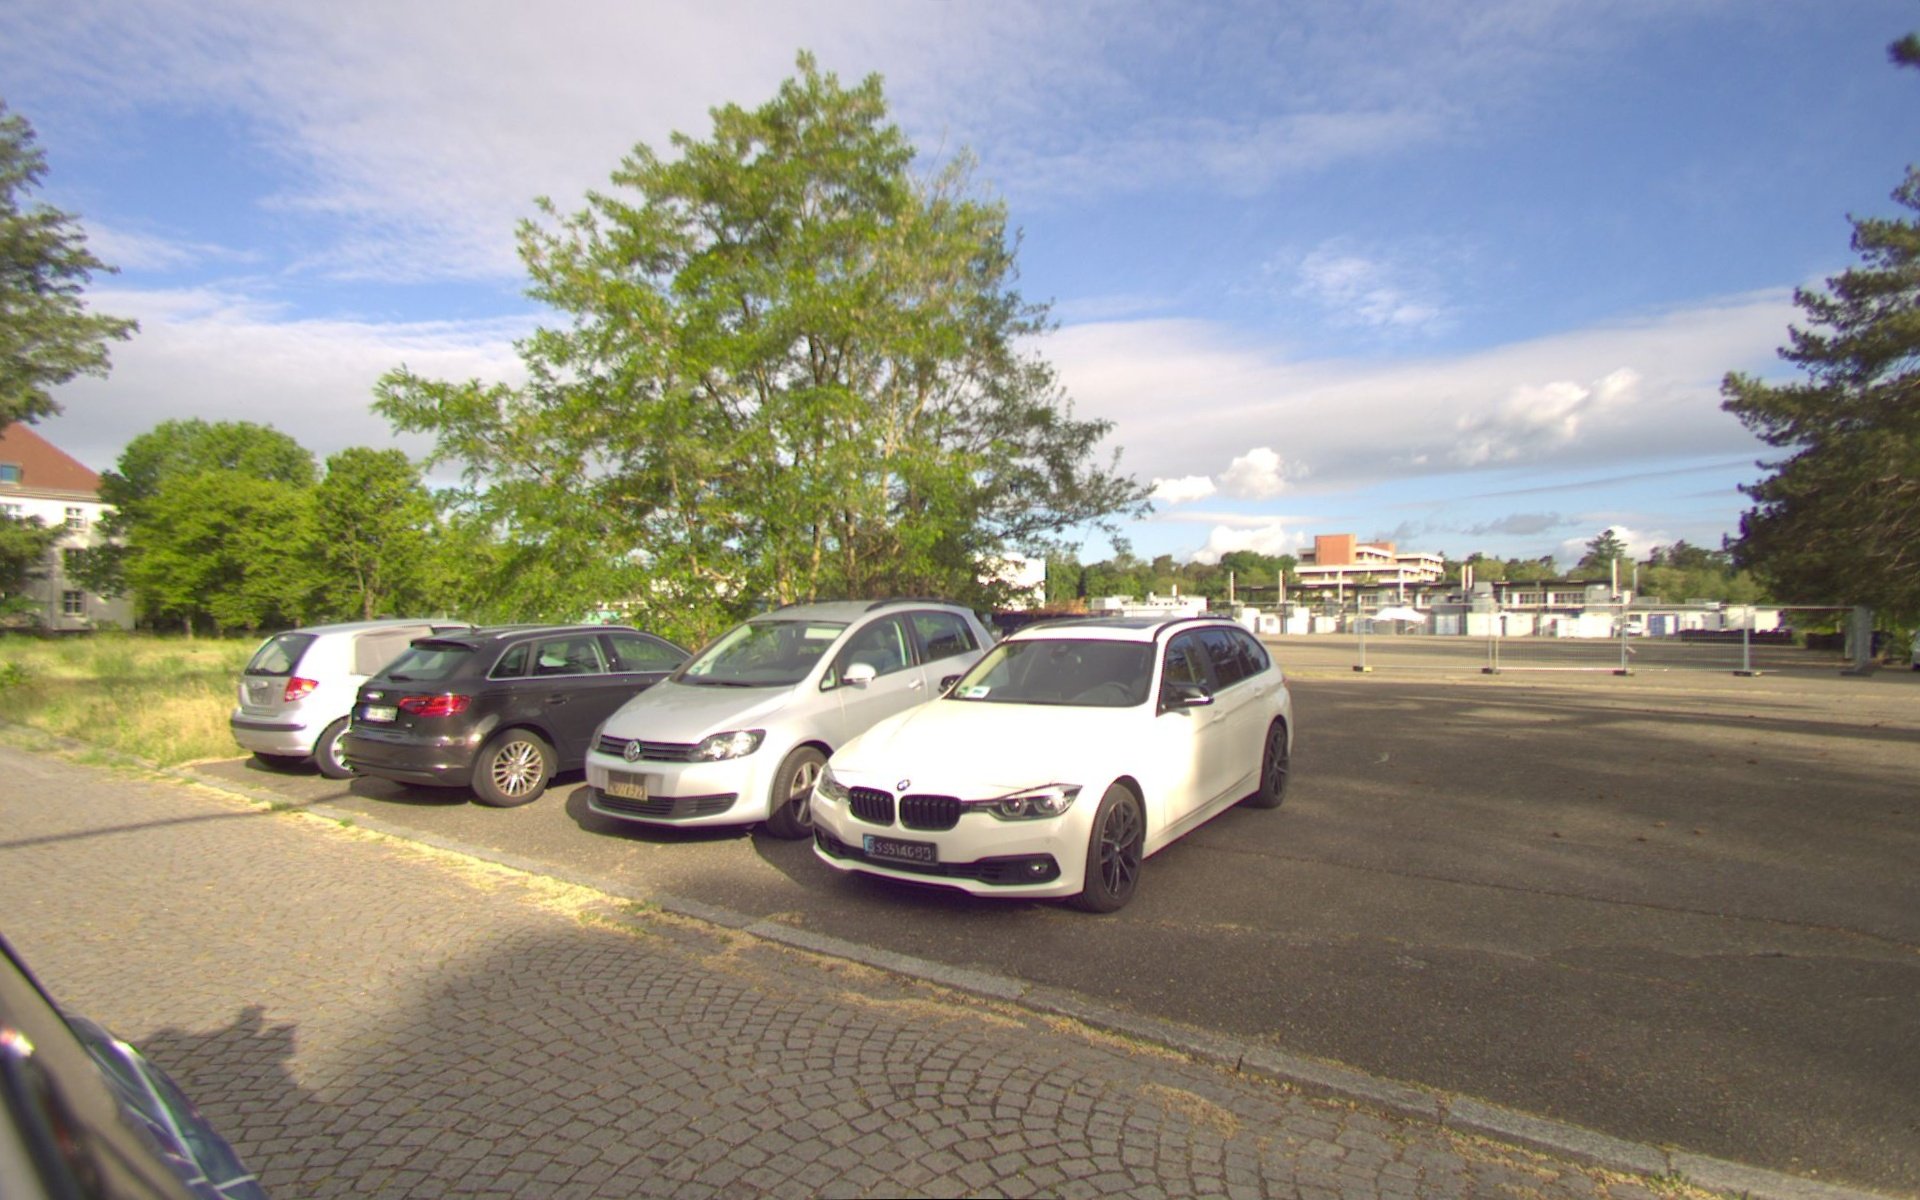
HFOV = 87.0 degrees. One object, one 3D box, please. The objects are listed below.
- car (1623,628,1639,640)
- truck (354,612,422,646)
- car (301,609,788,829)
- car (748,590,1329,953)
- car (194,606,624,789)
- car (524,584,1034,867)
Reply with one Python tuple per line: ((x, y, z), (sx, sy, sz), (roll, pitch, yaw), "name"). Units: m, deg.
((100.717, 5.079, 151.868), (1.850, 1.685, 4.153), (0, -1, 32), "car")
((-45.546, 2.307, 80.469), (6.951, 2.607, 2.388), (-2, -2, 39), "truck")
((-3.642, 0.887, 9.460), (1.855, 1.440, 3.796), (0, 2, 35), "car")
((0.919, 0.763, 6.847), (1.898, 1.466, 4.550), (-3, 1, 34), "car")
((-5.788, 0.877, 11.015), (1.845, 1.484, 3.652), (0, 2, 35), "car")
((-1.168, 0.733, 8.293), (1.852, 1.611, 4.091), (-1, 2, 32), "car")
